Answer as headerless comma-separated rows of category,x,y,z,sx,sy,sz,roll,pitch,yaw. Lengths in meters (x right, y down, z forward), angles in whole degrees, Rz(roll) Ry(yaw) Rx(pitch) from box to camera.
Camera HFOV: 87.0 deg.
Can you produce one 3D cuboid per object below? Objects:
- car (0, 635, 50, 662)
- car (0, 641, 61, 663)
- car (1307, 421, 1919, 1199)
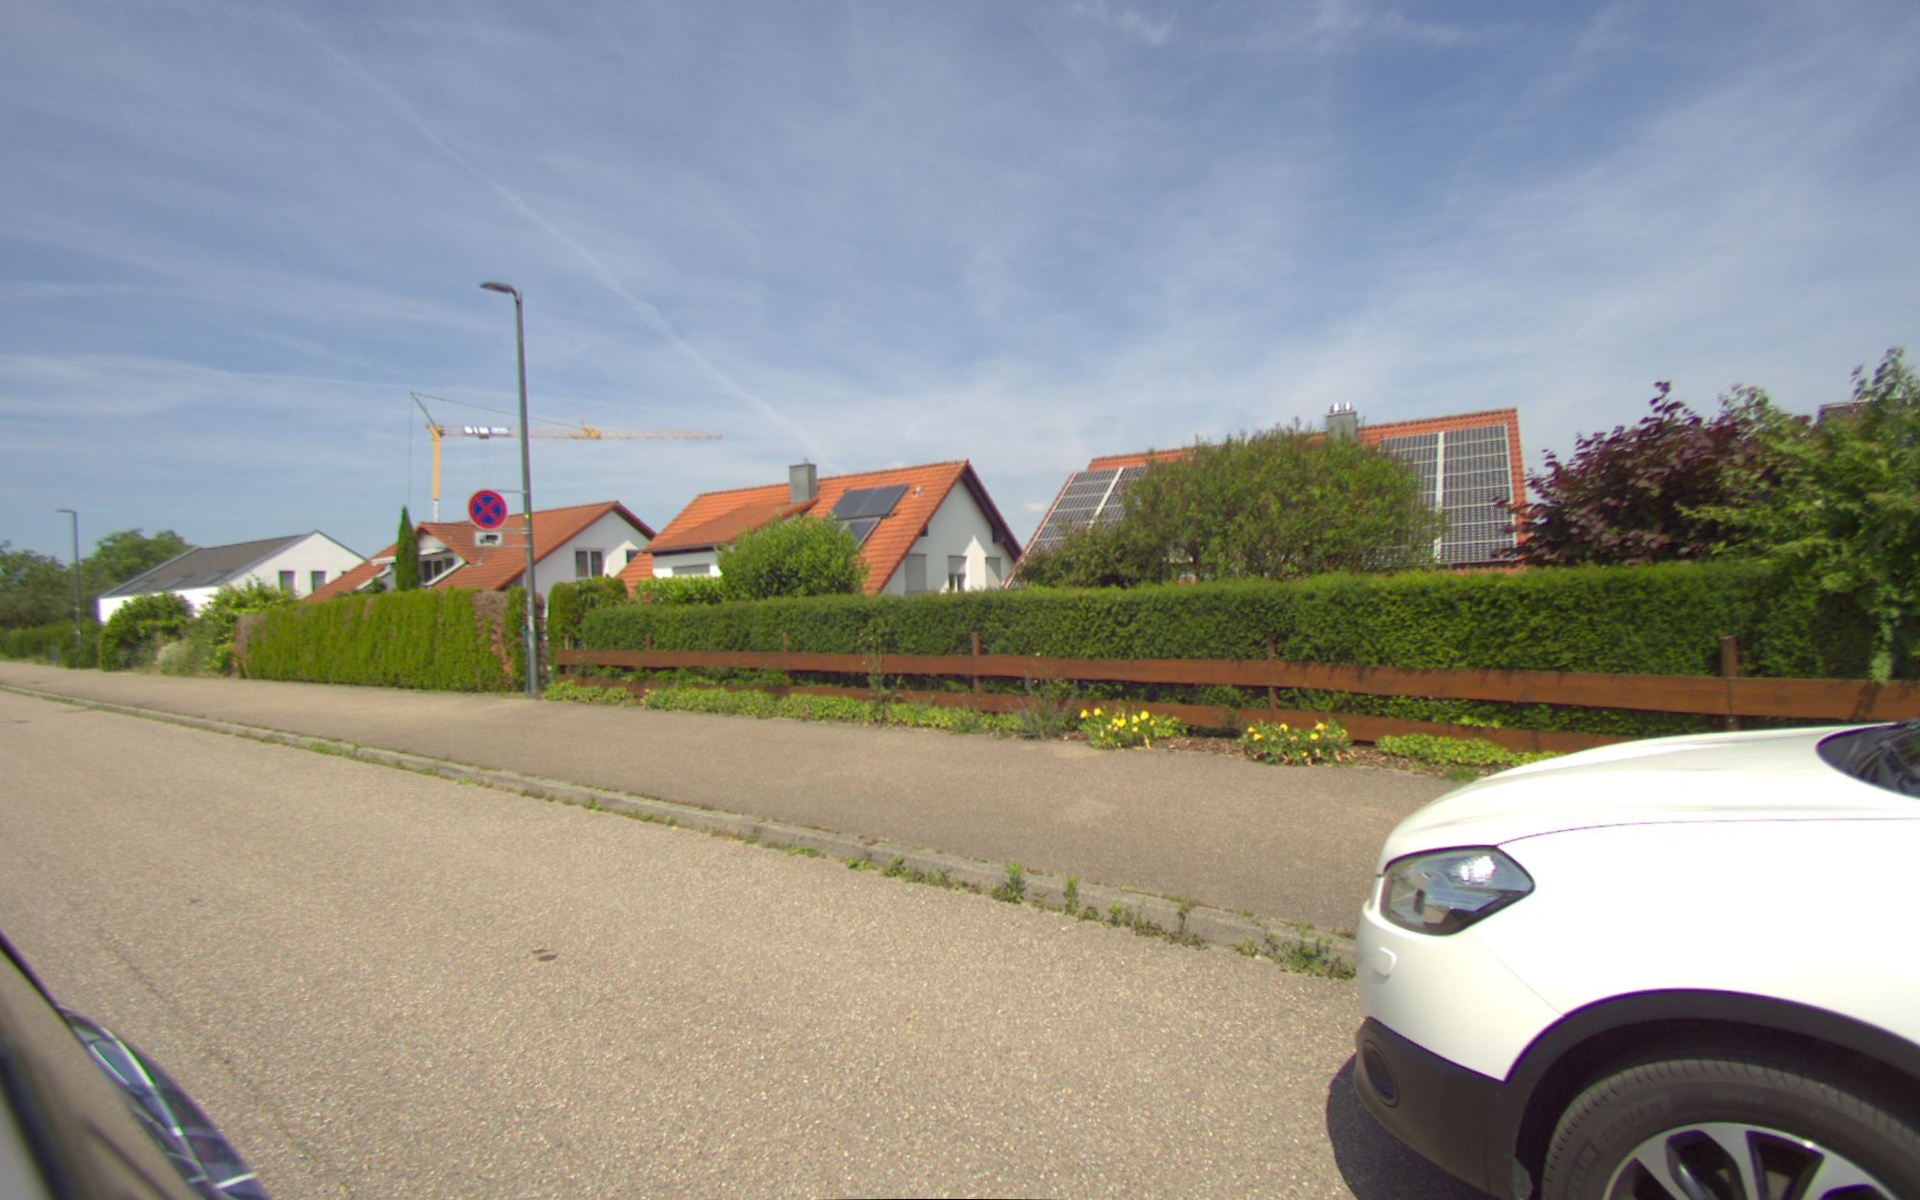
car,-70.393,3.623,75.346,3.832,1.826,1.801,-3,0,-45
car,-64.444,3.598,69.611,3.832,1.331,1.801,-2,-1,-45
car,2.929,0.529,1.327,4.349,1.645,1.717,-1,-1,40
